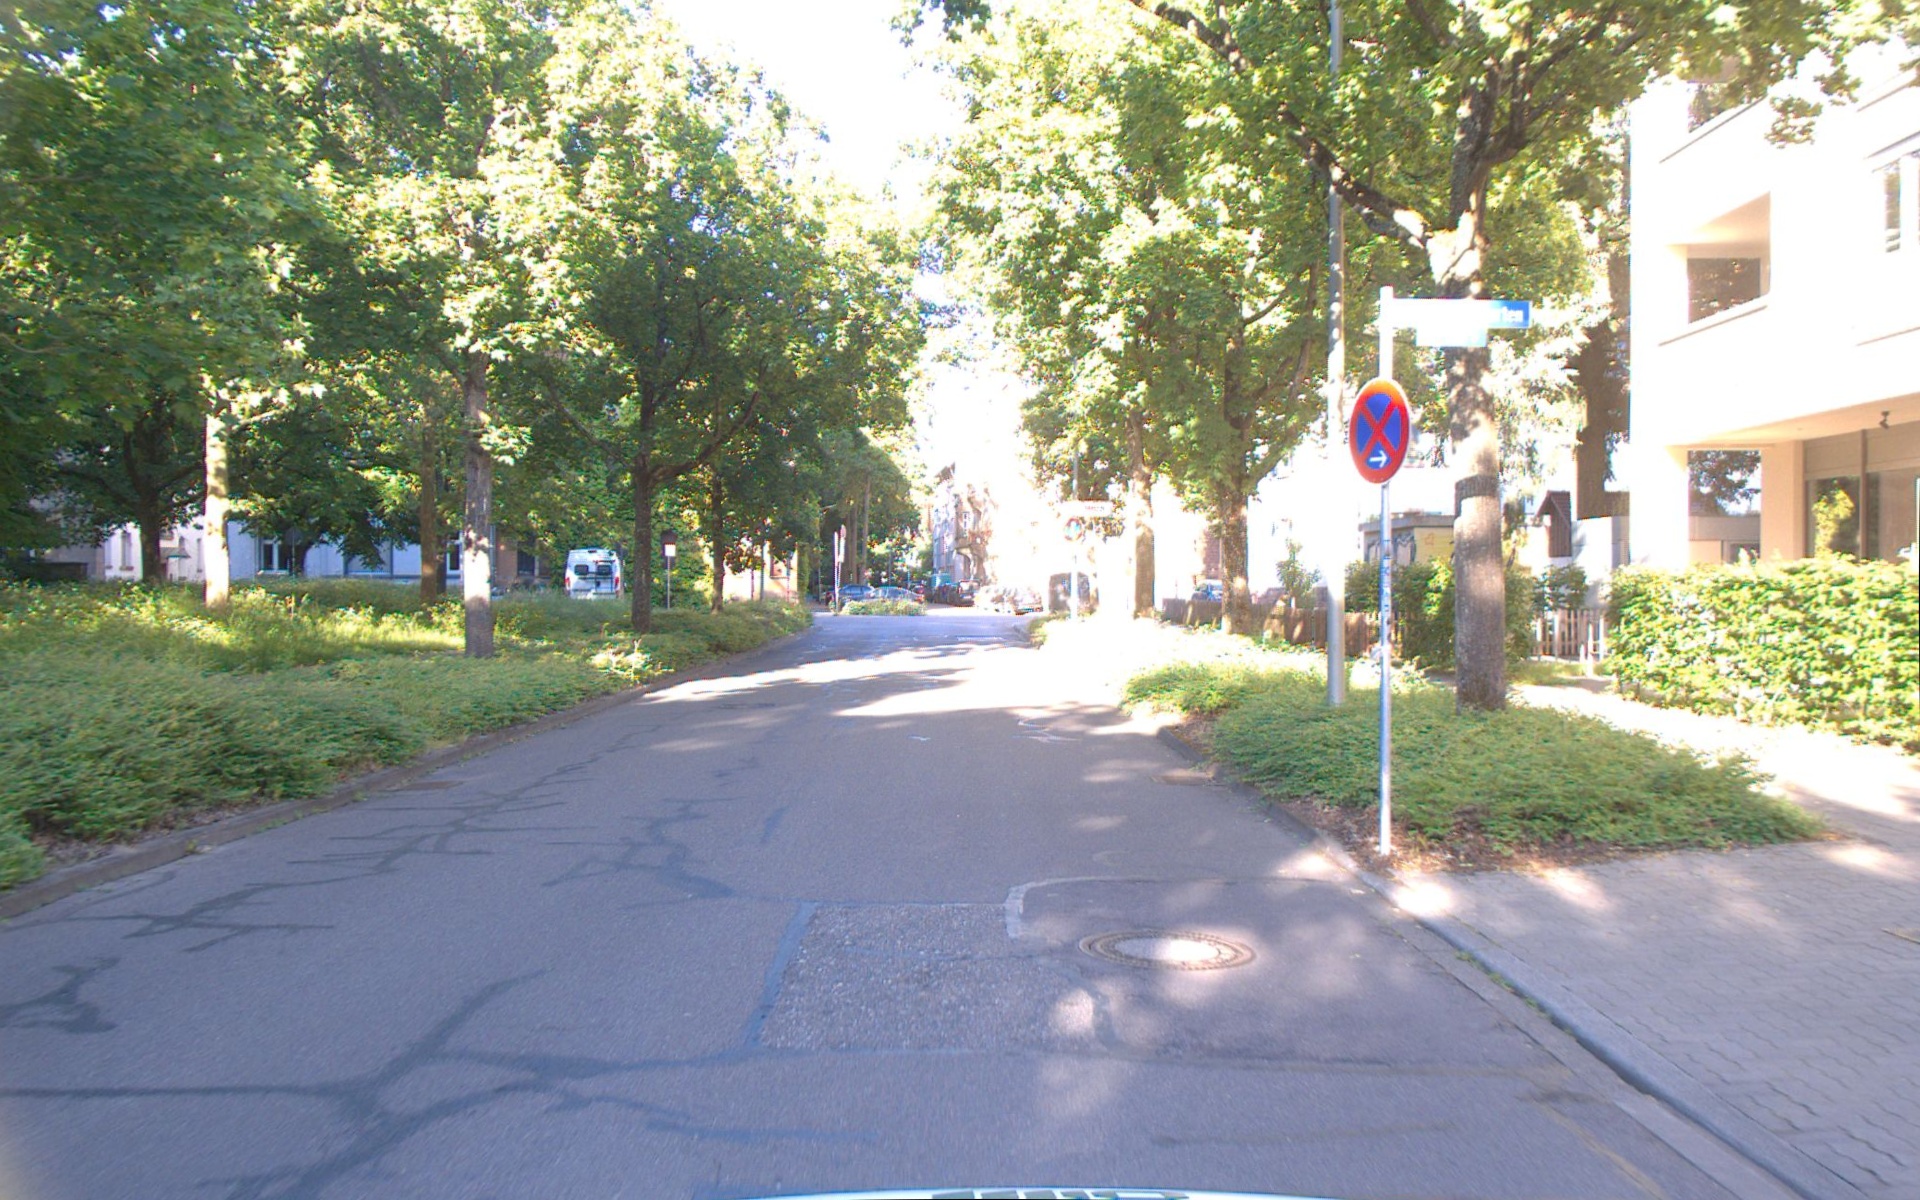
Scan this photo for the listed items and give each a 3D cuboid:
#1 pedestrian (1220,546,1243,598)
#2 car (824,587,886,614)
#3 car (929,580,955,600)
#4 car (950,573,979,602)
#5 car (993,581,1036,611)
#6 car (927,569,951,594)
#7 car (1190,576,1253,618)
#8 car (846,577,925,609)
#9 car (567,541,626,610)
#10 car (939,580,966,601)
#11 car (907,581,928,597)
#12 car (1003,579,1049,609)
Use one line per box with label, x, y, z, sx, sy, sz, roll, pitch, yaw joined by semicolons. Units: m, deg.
pedestrian;10.080;-1.030;61.411;0.604;1.903;0.694;1;0;-8
car;-6.168;0.019;97.311;3.520;1.536;1.497;1;0;-8
car;-1.452;-0.811;130.896;1.775;1.527;3.997;1;1;-4
car;0.290;-0.876;115.984;1.775;1.959;3.997;1;1;-4
car;3.083;-0.245;93.593;1.955;1.601;3.996;1;1;-5
car;-1.778;-1.555;140.835;1.775;2.086;3.997;1;1;-4
car;10.640;-0.132;67.492;1.953;1.612;3.639;1;0;-1
car;-3.840;-0.377;85.250;3.912;1.527;1.814;1;1;-8
car;-13.988;-0.923;63.787;1.957;2.552;3.992;1;0;-9
car;-0.568;-0.748;124.116;1.775;1.527;3.997;1;1;-4
car;-4.042;-1.065;157.796;1.775;1.527;3.997;1;1;-4
car;3.485;-0.322;87.355;1.777;1.527;3.993;-1;1;-8
